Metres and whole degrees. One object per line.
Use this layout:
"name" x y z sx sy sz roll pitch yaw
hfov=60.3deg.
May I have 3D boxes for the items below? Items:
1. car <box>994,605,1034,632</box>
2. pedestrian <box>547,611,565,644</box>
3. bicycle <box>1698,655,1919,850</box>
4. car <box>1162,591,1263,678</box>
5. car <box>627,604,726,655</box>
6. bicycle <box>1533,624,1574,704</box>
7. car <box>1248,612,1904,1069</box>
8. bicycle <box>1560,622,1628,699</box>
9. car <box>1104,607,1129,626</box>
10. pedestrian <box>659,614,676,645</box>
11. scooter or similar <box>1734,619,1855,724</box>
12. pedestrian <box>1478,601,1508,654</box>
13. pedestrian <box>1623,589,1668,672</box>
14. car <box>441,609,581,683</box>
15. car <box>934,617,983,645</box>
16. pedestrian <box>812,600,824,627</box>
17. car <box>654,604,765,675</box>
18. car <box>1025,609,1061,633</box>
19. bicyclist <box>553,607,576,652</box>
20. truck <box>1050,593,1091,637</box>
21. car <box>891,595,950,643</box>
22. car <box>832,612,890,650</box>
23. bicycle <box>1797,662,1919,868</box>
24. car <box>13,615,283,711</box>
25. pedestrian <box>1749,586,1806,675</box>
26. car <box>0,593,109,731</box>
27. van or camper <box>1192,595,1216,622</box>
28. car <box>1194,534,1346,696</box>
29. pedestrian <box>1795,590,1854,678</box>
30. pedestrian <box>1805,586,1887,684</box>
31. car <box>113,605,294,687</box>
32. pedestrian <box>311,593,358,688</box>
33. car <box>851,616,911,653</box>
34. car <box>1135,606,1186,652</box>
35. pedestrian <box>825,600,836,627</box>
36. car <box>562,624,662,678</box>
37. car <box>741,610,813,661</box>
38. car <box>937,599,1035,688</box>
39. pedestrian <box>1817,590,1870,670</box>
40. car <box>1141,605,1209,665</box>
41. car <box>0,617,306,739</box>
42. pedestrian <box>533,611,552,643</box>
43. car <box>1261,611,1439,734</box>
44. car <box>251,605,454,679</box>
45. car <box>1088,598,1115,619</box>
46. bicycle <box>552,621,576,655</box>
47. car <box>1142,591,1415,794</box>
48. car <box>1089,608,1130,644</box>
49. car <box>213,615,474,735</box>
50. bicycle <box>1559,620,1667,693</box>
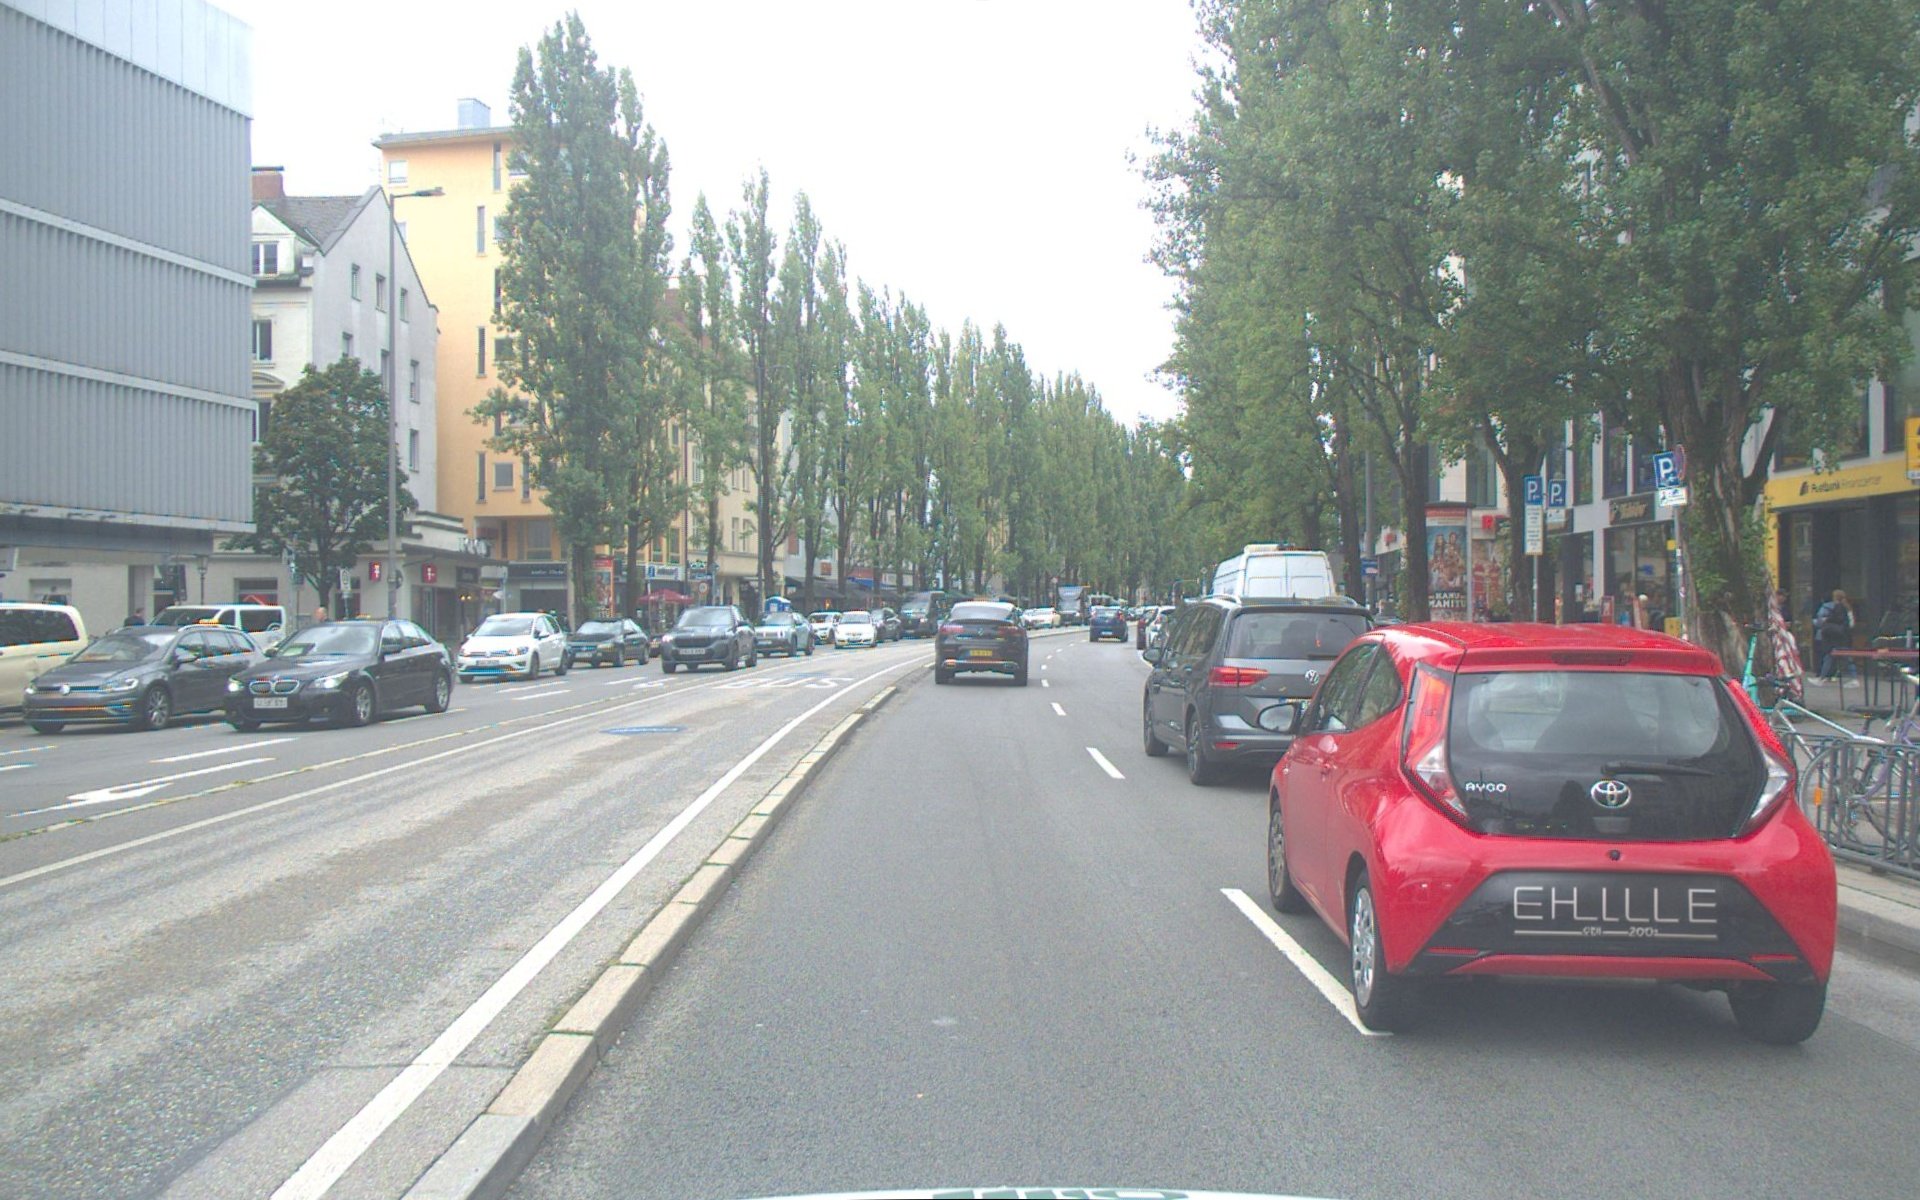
"car" 3.475 1.162 106.153 1.869 1.631 4.359 -1 0 11
"pedestrian" -18.296 1.232 74.878 0.619 1.460 0.778 -1 0 -1
"bicycle" 5.599 0.949 10.490 1.546 1.072 0.544 4 1 38
"car" 5.730 0.760 38.021 1.888 1.836 4.782 1 0 4
"car" -10.713 1.131 62.753 1.721 1.848 3.998 0 -1 24
"bicycle" 9.182 0.966 25.614 0.467 1.180 1.826 0 0 16
"car" 2.345 0.817 7.255 1.630 1.471 3.596 1 -1 2
"bicycle" 10.102 0.946 26.387 0.467 1.180 1.633 0 0 0
"car" 14.924 1.565 157.845 1.898 1.671 4.467 -1 0 12
"pedestrian" -15.287 1.532 86.495 0.620 1.589 0.816 -1 0 14
"scooter or similar" 10.175 0.856 20.162 1.442 1.228 0.398 -1 -1 -19
"pedestrian" 16.431 0.849 50.950 0.555 1.604 0.672 -1 -1 -23
"pedestrian" 14.736 0.658 35.550 0.707 1.755 0.737 -2 -1 37
"car" -10.709 1.060 39.753 1.952 1.628 4.291 -1 0 3
"car" -0.058 1.693 91.620 1.761 1.419 4.694 -1 0 12
"pedestrian" -9.732 0.918 113.572 0.624 1.894 0.648 -1 0 12
"car" -6.282 0.954 41.938 1.952 1.649 4.414 -2 0 2
"car" 6.063 1.500 120.163 1.951 1.617 5.199 -2 -1 10
"bicyclist" -14.442 1.058 60.402 0.491 1.620 0.835 -1 0 12
"truck" 8.941 1.168 133.225 2.242 3.381 7.163 -2 -1 12
"car" -2.230 1.085 95.529 2.123 2.651 6.069 -1 0 11
"car" -4.362 1.351 73.299 1.912 1.617 4.003 -1 0 6
"bicycle" 5.639 0.948 9.058 1.767 1.072 0.544 4 1 38
"car" -14.808 1.090 30.549 1.935 1.579 5.090 -1 0 8
"pedestrian" 15.822 0.585 32.011 0.677 1.678 0.798 -1 0 -1
"car" -15.194 0.947 24.753 1.952 2.049 5.323 -2 -1 2
"van or camper" 23.364 0.848 158.085 1.991 2.519 4.003 -1 -2 12
"car" 5.783 0.301 31.504 1.952 2.790 5.555 1 -1 1
"pedestrian" 16.191 0.629 30.983 0.677 1.613 0.773 -1 0 -1
"pedestrian" 15.440 0.602 28.850 0.785 1.665 1.021 -1 0 -8
"car" -20.187 1.179 44.426 1.951 2.049 5.116 -1 0 8
"pedestrian" -12.800 0.816 33.861 0.778 1.900 0.838 0 -1 -30
"car" -3.937 1.715 83.319 1.975 1.746 4.986 -1 0 9
"car" 8.018 1.155 65.772 1.884 1.730 4.653 1 -1 8
"pedestrian" -8.891 0.929 113.556 0.624 1.894 0.648 -1 0 12
"car" -10.138 1.463 48.537 1.693 1.433 4.689 -1 0 3
"car" -6.254 1.188 56.871 1.779 1.572 4.001 -3 0 3
"car" 0.510 0.840 33.761 1.842 1.670 4.583 -1 0 0
"pedestrian" 17.495 0.590 32.769 0.748 1.562 0.709 -1 -1 16
"car" 6.430 1.017 49.836 1.691 1.716 4.410 0 0 3
"car" -11.901 1.076 24.759 1.918 1.573 4.950 -1 0 5
"pedestrian" -18.903 1.222 74.903 0.619 1.460 0.778 -1 0 -1
"car" 5.241 0.913 22.714 1.689 1.479 4.149 2 0 4
"car" -13.705 0.911 37.675 1.817 1.495 4.986 -3 -1 13
"car" 12.543 0.763 146.715 1.820 1.741 4.540 -2 0 12
"bicycle" -14.446 1.389 60.353 0.360 1.222 1.154 -1 0 13
"car" 2.822 0.764 15.548 1.725 1.642 4.183 0 0 -1
"car" 7.121 1.222 78.515 1.722 1.648 3.749 1 -1 8
"car" -8.752 1.000 23.966 1.797 1.513 4.736 -1 0 3
"bicycle" 10.875 0.935 27.586 1.593 1.180 0.705 0 0 13
